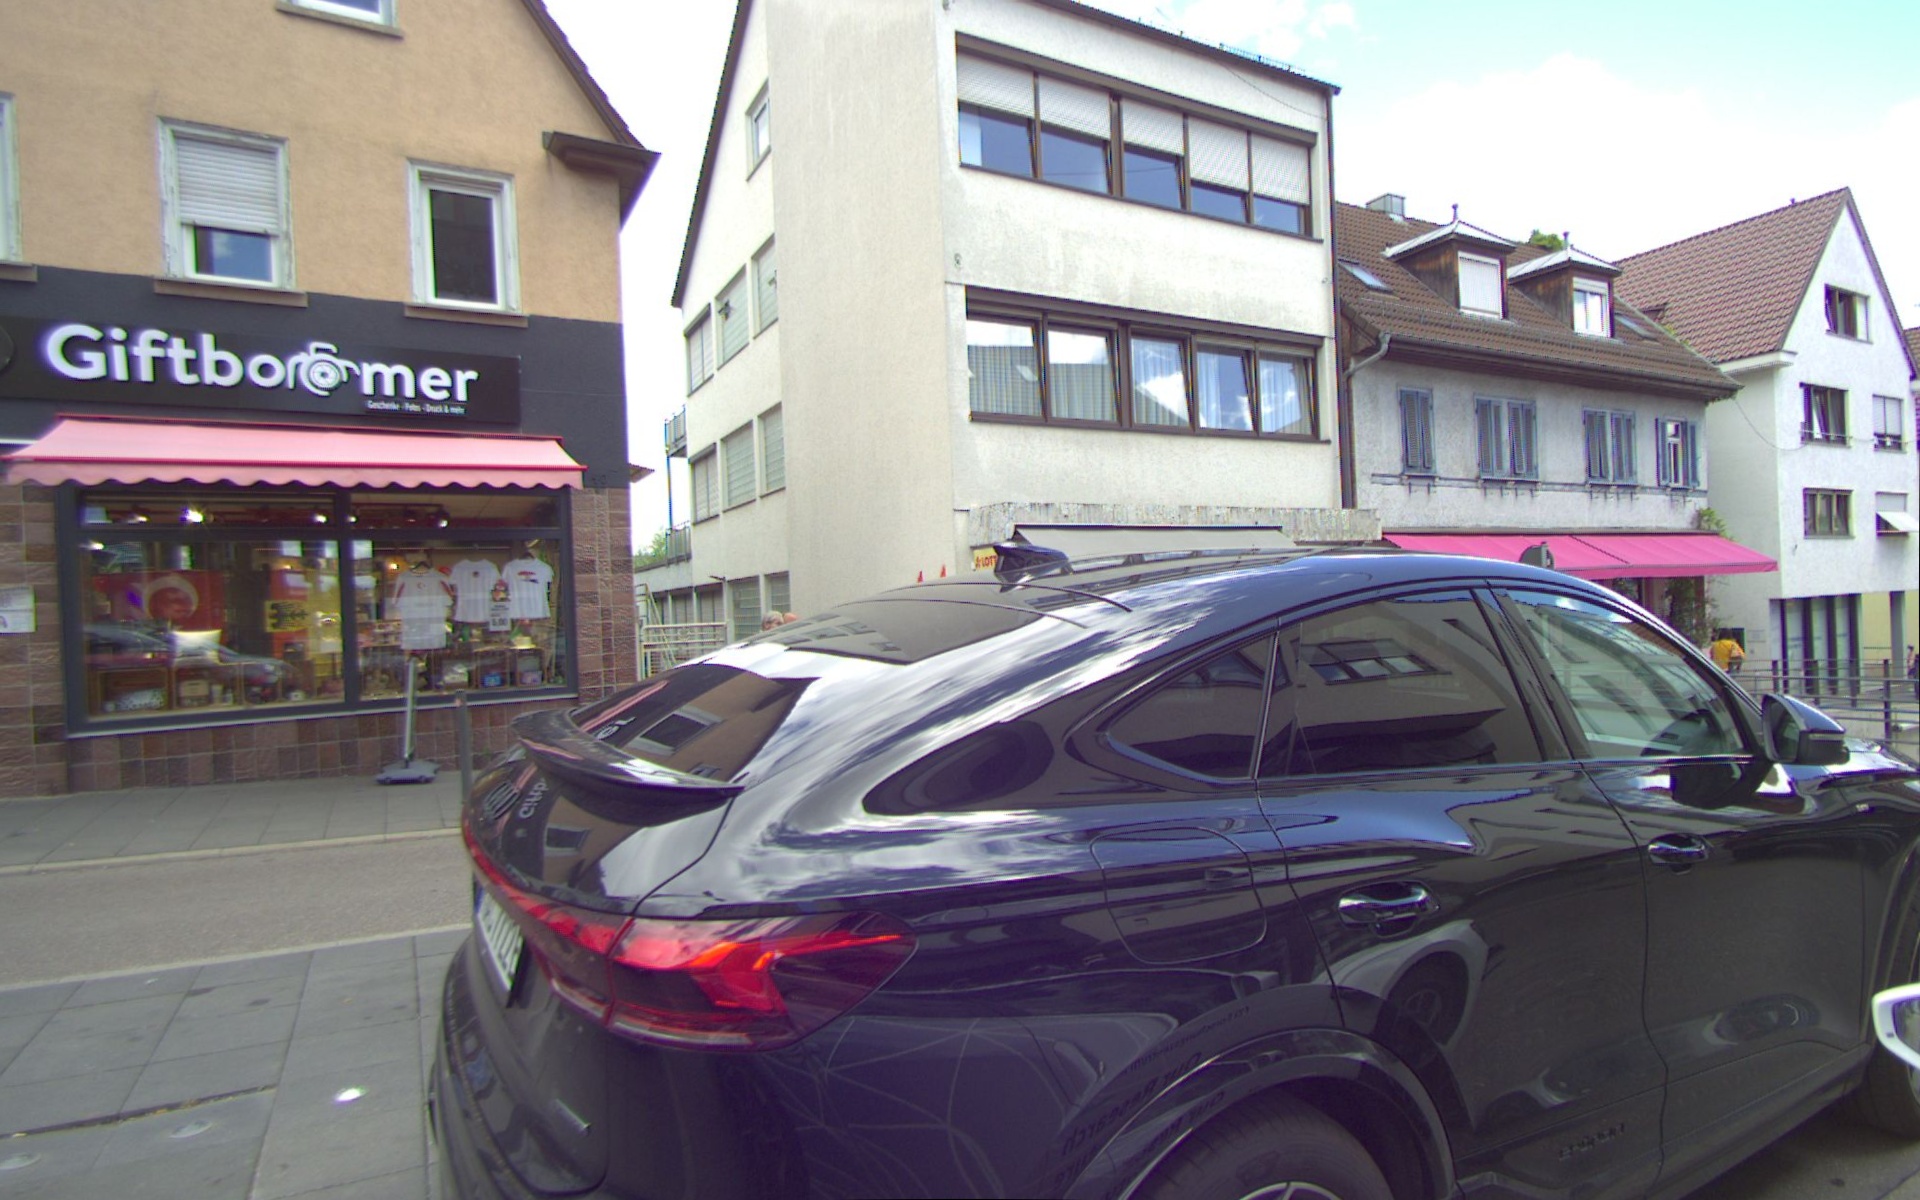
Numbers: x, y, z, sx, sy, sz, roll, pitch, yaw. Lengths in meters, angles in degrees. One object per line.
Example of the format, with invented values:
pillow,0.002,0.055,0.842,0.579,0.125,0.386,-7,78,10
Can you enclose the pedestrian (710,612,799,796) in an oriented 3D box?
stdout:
pedestrian,-1.984,0.983,9.755,0.653,1.711,0.646,-1,-1,10

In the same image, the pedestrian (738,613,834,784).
pedestrian,-1.831,1.005,10.571,0.817,1.711,0.636,1,-1,-28

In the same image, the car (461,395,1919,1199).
car,1.064,0.695,2.833,4.266,1.661,1.946,1,0,-32

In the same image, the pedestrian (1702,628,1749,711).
pedestrian,16.084,1.447,21.110,0.570,1.711,0.575,1,0,-31

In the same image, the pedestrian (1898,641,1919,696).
pedestrian,25.934,1.853,27.308,0.527,1.440,0.455,1,0,-28
